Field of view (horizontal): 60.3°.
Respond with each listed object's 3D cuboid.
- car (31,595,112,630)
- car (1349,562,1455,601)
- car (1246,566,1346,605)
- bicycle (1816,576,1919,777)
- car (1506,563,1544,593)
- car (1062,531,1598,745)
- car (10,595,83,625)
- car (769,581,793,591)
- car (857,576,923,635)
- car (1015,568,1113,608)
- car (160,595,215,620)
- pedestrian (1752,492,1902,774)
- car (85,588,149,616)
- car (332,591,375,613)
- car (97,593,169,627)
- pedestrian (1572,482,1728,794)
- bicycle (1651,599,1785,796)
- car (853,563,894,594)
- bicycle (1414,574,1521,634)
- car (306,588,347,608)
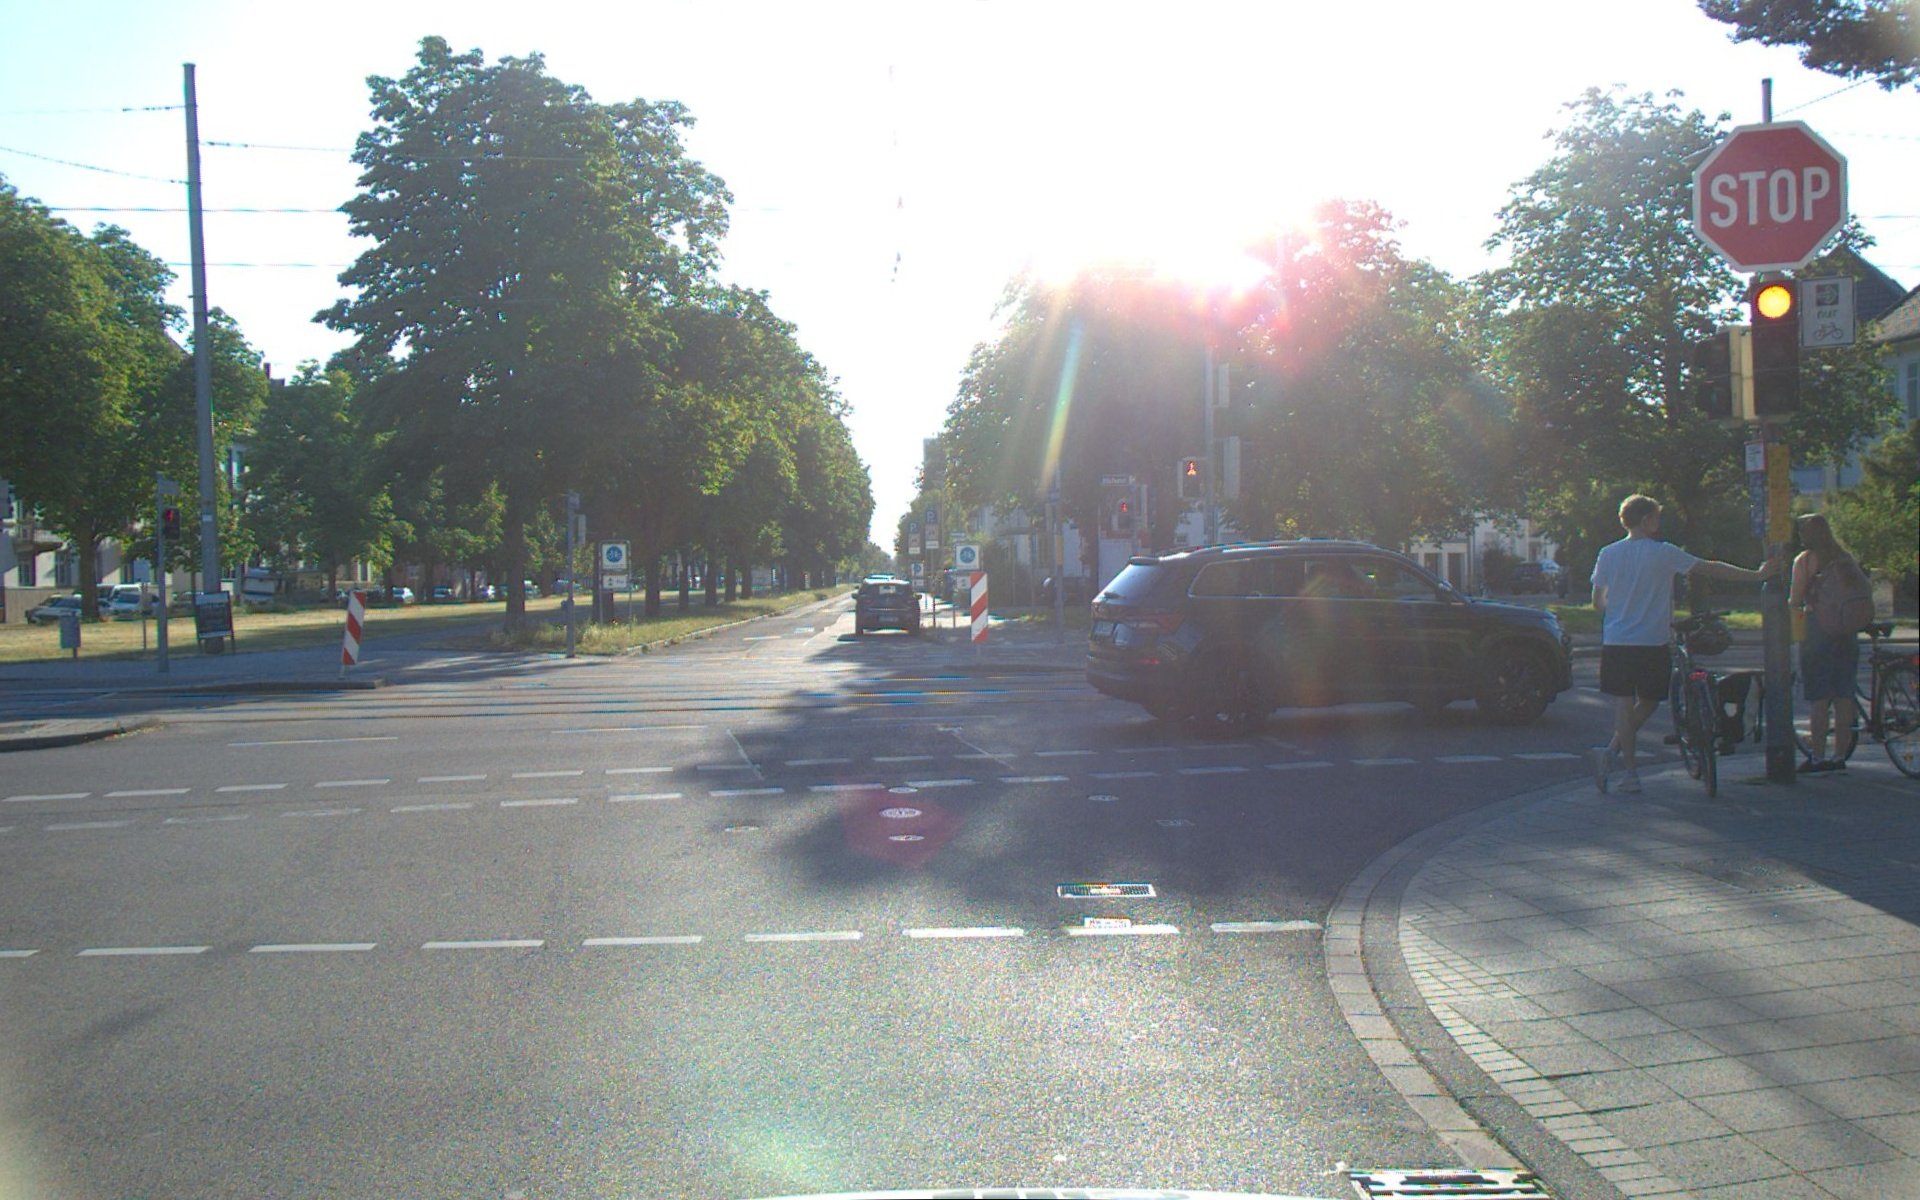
[{"bbox_3d":[-40.059,0.527,74.655,1.703,1.452,3.791,-1,1,-2],"label":"car"},{"bbox_3d":[17.685,-0.742,66.286,3.772,1.452,1.595,-1,1,-7],"label":"car"},{"bbox_3d":[13.279,-0.586,65.446,3.593,1.452,1.529,-1,1,-7],"label":"car"},{"bbox_3d":[5.975,0.451,10.652,0.476,1.162,1.599,-3,1,16],"label":"bicycle"},{"bbox_3d":[28.880,-1.131,84.507,1.629,1.442,3.543,-1,1,21],"label":"car"},{"bbox_3d":[3.364,0.291,15.349,4.468,1.692,1.874,-2,1,-12],"label":"car"},{"bbox_3d":[-47.035,0.507,85.225,1.703,1.452,3.791,-1,1,-2],"label":"car"},{"bbox_3d":[-26.479,-2.102,244.296,3.450,1.452,1.602,-1,1,-4],"label":"car"},{"bbox_3d":[-1.826,0.116,43.832,1.607,1.476,3.307,-1,1,0],"label":"car"},{"bbox_3d":[4.061,-0.490,65.033,3.704,1.452,1.743,-1,2,-3],"label":"car"},{"bbox_3d":[-47.413,0.463,101.583,1.703,1.452,3.791,-1,1,-2],"label":"car"},{"bbox_3d":[5.601,0.203,10.716,0.655,1.737,0.623,-4,1,17],"label":"pedestrian"},{"bbox_3d":[-46.511,0.073,91.323,1.703,1.452,3.791,-1,1,-2],"label":"car"},{"bbox_3d":[-42.319,0.106,115.491,1.703,1.452,3.791,-1,1,-2],"label":"car"},{"bbox_3d":[-40.325,0.458,80.738,1.703,1.452,3.792,-1,2,-2],"label":"car"},{"bbox_3d":[4.475,0.243,10.793,0.656,1.897,0.882,-6,-2,16],"label":"pedestrian"},{"bbox_3d":[4.807,0.576,10.567,0.476,1.116,1.792,-3,0,17],"label":"bicycle"},{"bbox_3d":[-4.072,-1.004,78.177,1.808,1.418,3.828,0,1,-2],"label":"car"},{"bbox_3d":[10.111,0.080,32.987,1.914,1.152,0.620,-1,0,0],"label":"bicycle"},{"bbox_3d":[-48.084,-0.156,125.649,1.703,1.452,3.791,-1,1,-2],"label":"car"}]
